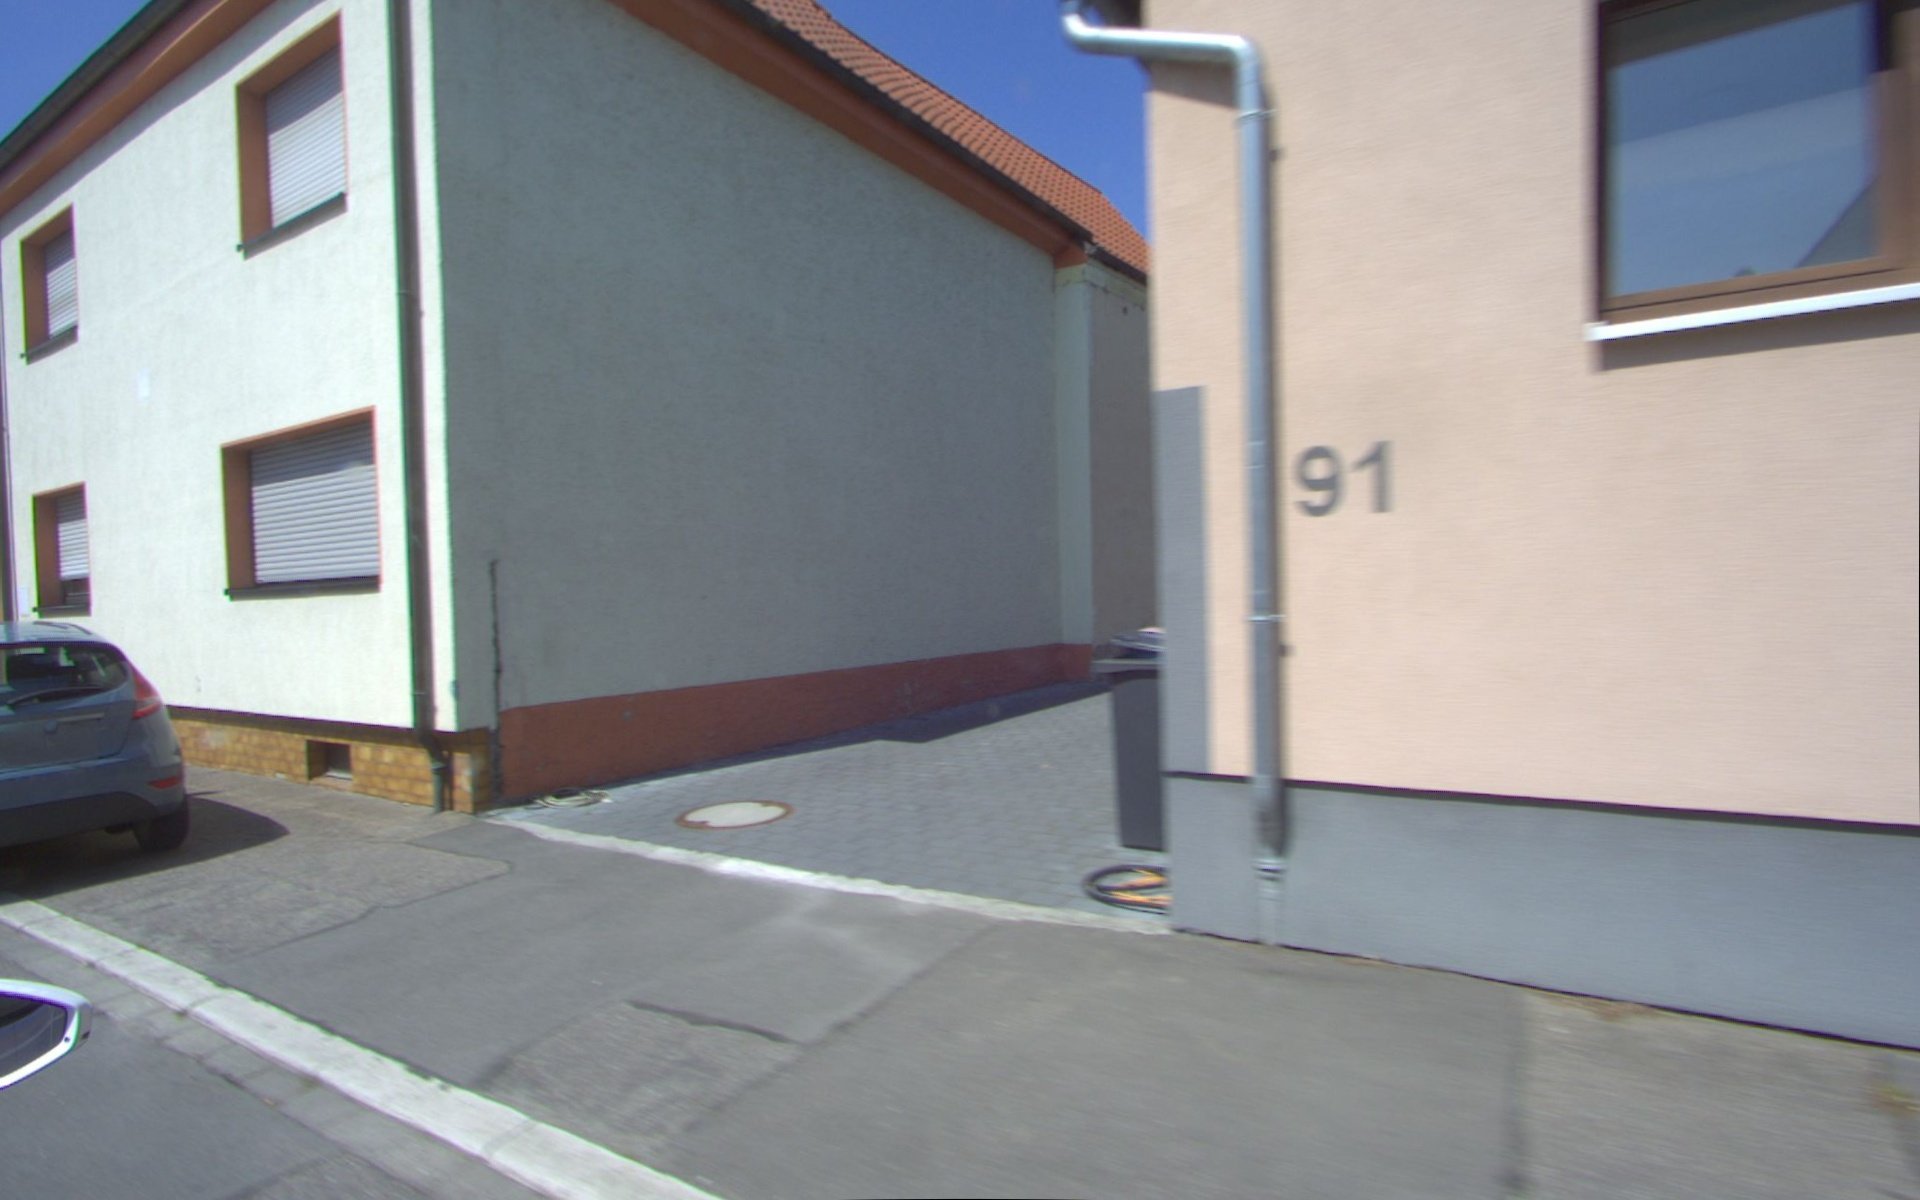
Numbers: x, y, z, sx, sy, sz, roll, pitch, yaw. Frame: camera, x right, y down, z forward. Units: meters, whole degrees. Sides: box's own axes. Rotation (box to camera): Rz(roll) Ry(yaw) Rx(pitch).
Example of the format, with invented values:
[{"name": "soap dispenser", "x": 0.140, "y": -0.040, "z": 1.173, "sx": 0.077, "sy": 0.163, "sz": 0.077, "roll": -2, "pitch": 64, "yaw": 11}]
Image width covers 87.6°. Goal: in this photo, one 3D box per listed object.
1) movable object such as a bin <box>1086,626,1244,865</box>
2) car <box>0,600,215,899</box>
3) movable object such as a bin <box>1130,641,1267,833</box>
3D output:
[{"name": "movable object such as a bin", "x": 1.103, "y": 0.737, "z": 5.368, "sx": 0.688, "sy": 1.165, "sz": 0.491, "roll": -1, "pitch": 2, "yaw": 31}, {"name": "car", "x": -6.494, "y": 0.839, "z": 6.396, "sx": 3.701, "sy": 1.502, "sz": 1.714, "roll": -1, "pitch": 4, "yaw": 37}, {"name": "movable object such as a bin", "x": 1.426, "y": 0.781, "z": 5.974, "sx": 0.661, "sy": 1.043, "sz": 0.491, "roll": -1, "pitch": 2, "yaw": 31}]
